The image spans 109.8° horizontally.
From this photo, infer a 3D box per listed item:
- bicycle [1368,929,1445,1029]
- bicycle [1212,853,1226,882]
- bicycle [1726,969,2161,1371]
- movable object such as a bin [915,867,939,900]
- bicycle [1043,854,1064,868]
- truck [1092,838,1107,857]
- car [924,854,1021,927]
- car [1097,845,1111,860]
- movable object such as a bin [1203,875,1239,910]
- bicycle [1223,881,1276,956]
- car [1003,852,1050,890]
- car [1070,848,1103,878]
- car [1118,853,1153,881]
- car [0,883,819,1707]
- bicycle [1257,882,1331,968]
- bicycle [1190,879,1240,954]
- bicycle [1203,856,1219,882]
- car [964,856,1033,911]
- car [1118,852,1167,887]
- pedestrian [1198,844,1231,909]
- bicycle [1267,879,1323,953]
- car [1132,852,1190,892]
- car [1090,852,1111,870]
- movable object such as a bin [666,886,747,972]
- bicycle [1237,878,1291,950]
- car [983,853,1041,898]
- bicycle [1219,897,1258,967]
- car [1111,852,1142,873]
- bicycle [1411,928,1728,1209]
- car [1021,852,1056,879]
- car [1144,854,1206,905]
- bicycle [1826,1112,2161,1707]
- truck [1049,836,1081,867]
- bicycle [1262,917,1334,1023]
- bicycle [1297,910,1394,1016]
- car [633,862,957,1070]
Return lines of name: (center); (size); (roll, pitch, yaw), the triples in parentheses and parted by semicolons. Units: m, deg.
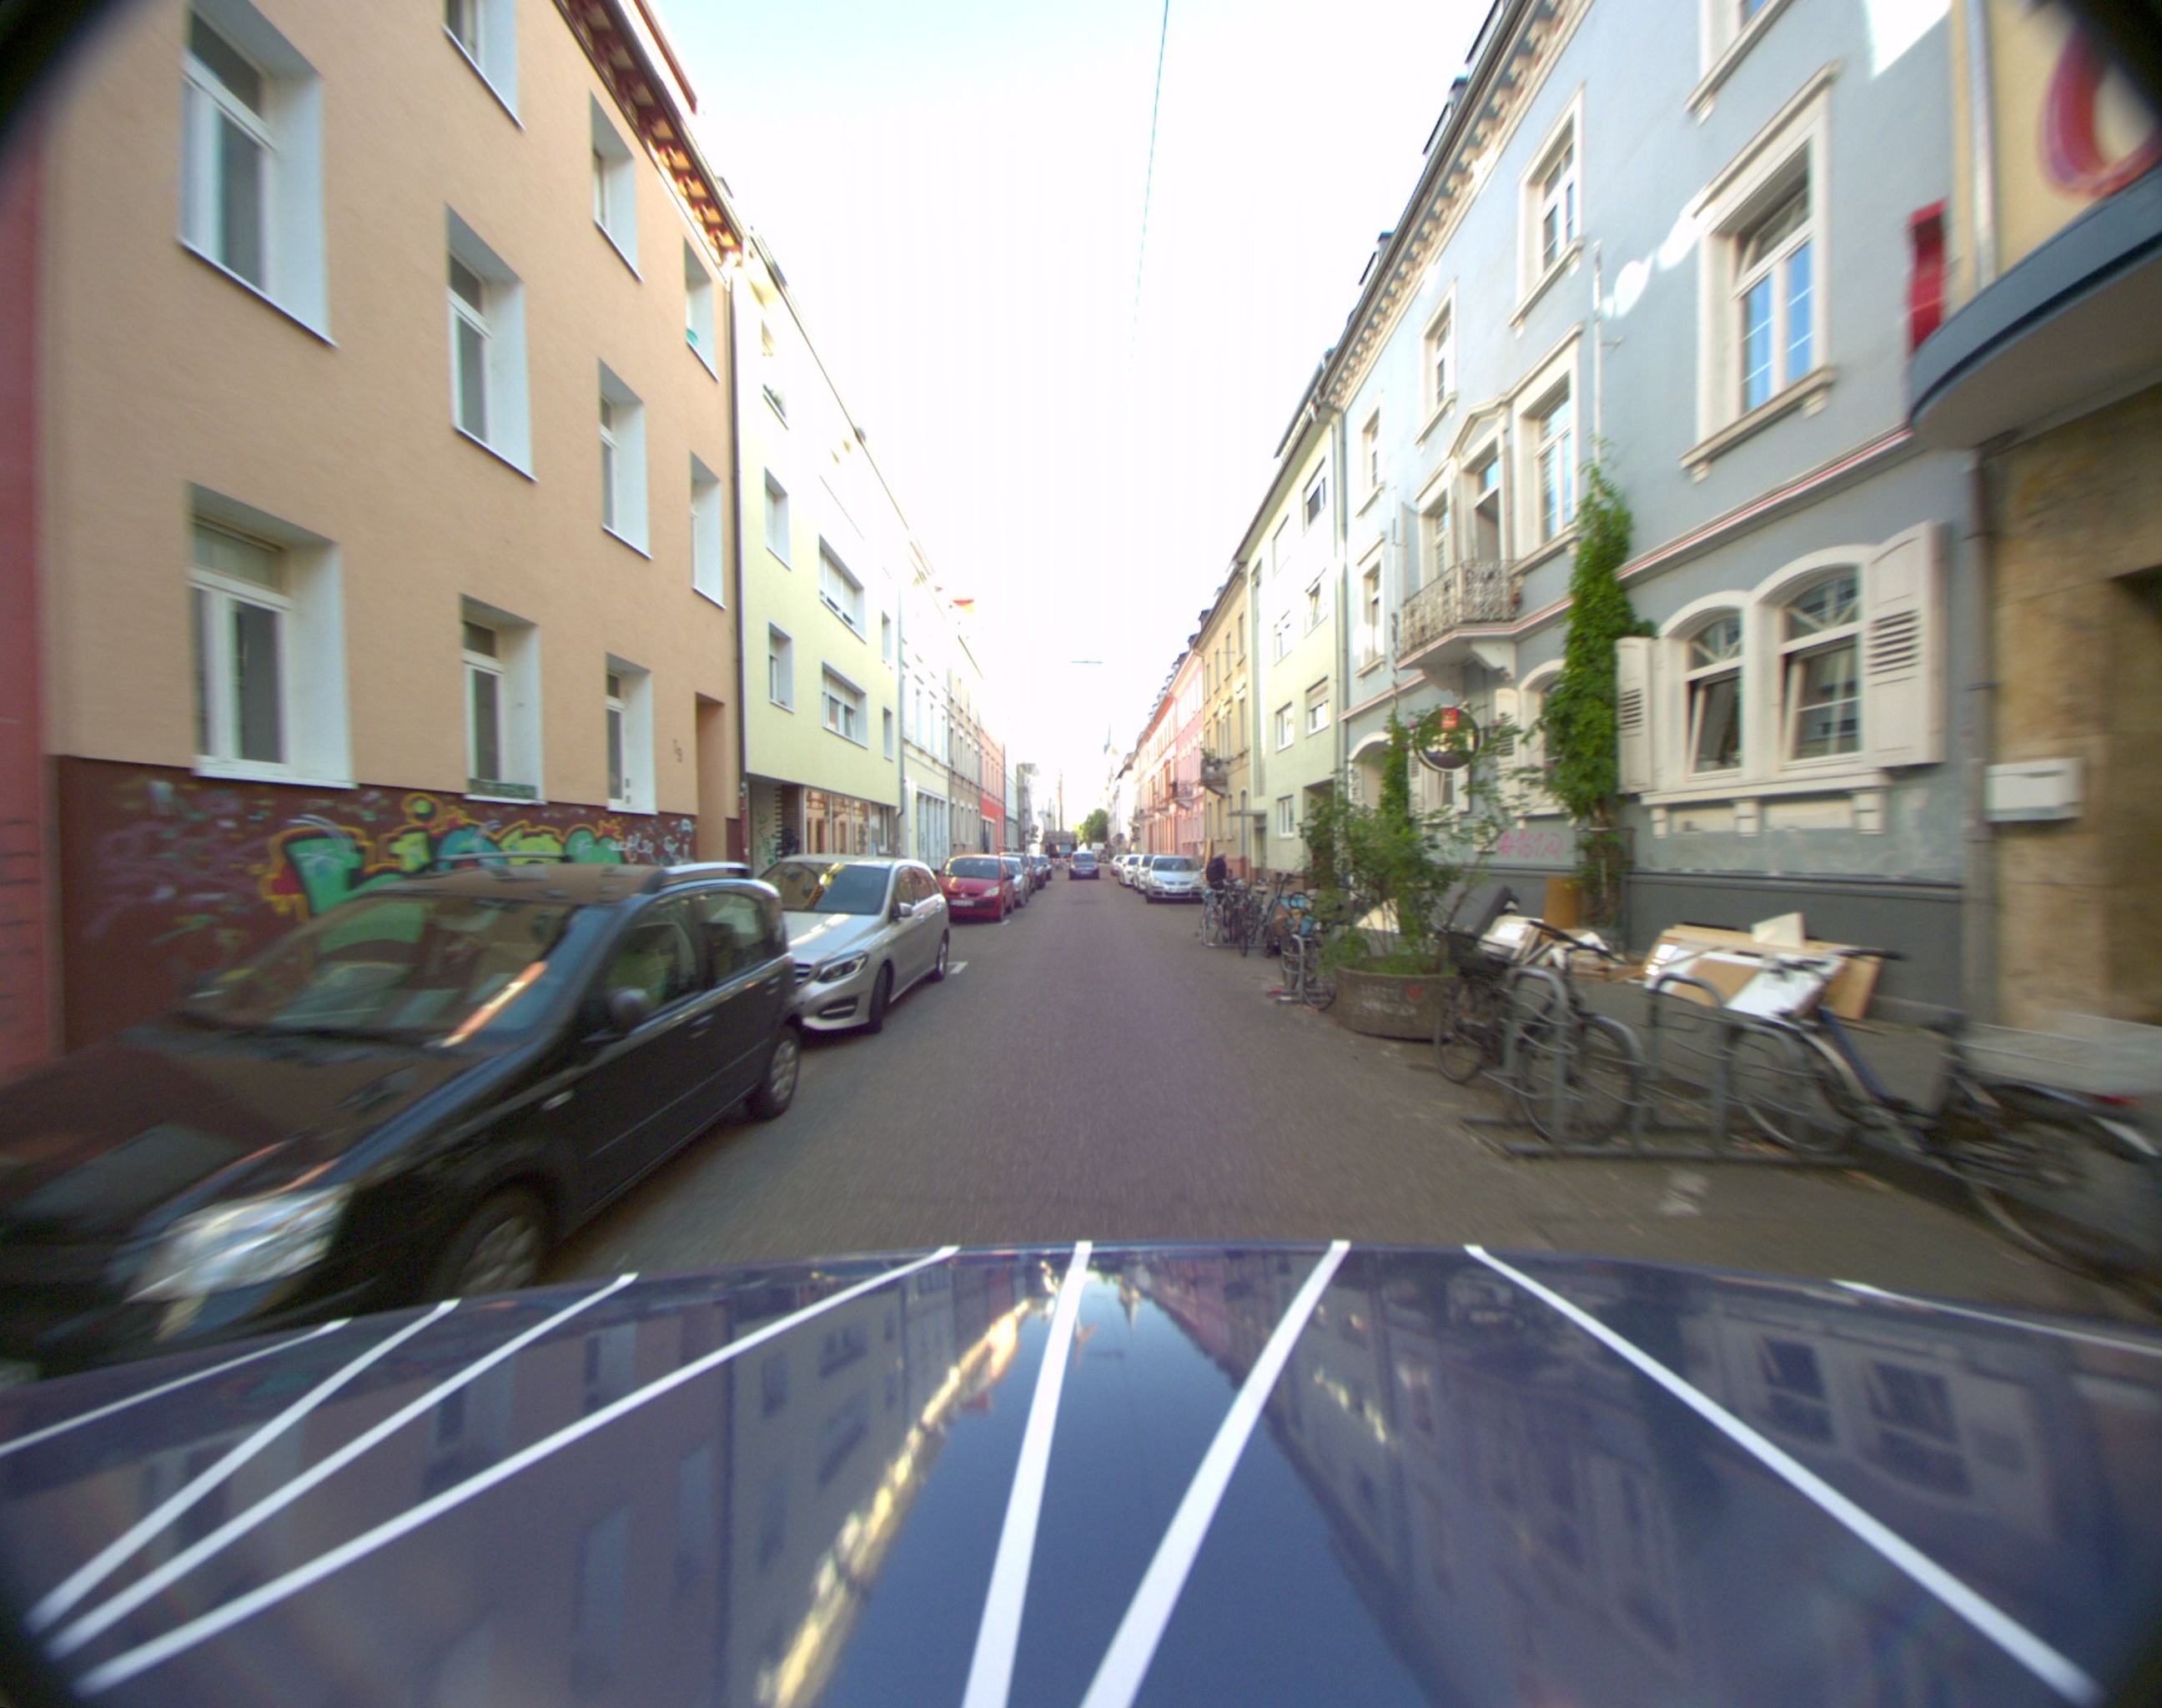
bicycle: (3.357, 1.259, 7.906); (0.256, 0.813, 1.299); (-1, 1, 1)
bicycle: (6.046, 0.571, 33.285); (0.319, 1.253, 1.494); (-2, 1, 0)
bicycle: (3.572, 1.112, 3.131); (0.575, 1.039, 1.409); (-1, 1, -4)
movable object such as a bin: (-5.179, 0.983, 25.537); (0.665, 1.092, 0.557); (-1, 1, 2)
bicycle: (-2.279, 0.579, 62.983); (1.713, 1.130, 0.470); (-2, 1, -11)
truck: (3.296, -1.082, 135.468); (2.524, 3.271, 6.642); (0, 1, 1)
car: (-2.516, 0.797, 18.495); (1.701, 1.514, 3.980); (1, 1, 1)
car: (3.212, -0.235, 106.834); (1.998, 2.002, 4.258); (0, 1, 1)
movable object such as a bin: (3.826, 1.045, 20.742); (0.845, 0.892, 0.586); (-1, 1, 19)
bicycle: (2.852, 1.050, 12.985); (0.444, 1.099, 1.931); (-1, 1, 0)
car: (-2.368, 0.700, 34.114); (1.766, 1.513, 4.379); (-1, 1, 0)
car: (0.323, 0.485, 43.909); (1.832, 1.651, 4.213); (0, 1, 0)
car: (2.923, 0.658, 41.398); (1.731, 1.383, 4.302); (1, 1, 2)
car: (-2.564, 0.996, 3.235); (1.606, 1.530, 3.450); (2, 1, 1)
bicycle: (3.135, 1.021, 11.257); (0.815, 1.168, 0.920); (-1, 1, -2)
bicycle: (2.262, 1.020, 12.951); (0.500, 1.099, 1.829); (-1, 1, 0)
bicycle: (5.659, 0.656, 33.230); (0.418, 1.095, 1.494); (-2, 1, 0)
car: (-2.424, 0.826, 23.073); (1.692, 1.444, 4.192); (1, 1, -1)
car: (2.731, 0.656, 34.463); (1.792, 1.454, 4.199); (0, 0, -1)
pedestrian: (3.578, 0.601, 20.307); (0.714, 1.698, 0.673); (-1, 1, 22)
bicycle: (3.600, 1.011, 12.865); (0.444, 1.099, 1.697); (-1, 1, 0)
car: (3.019, 0.648, 29.453); (1.794, 1.443, 3.999); (0, 1, 0)
car: (1.648, 0.573, 65.113); (1.644, 1.528, 3.842); (0, 0, 0)
movable object such as a bin: (-5.021, 0.991, 10.235); (0.694, 1.052, 0.736); (2, 1, 1)
bicycle: (3.204, 1.016, 13.423); (0.444, 1.099, 1.873); (-1, 1, -1)
car: (-2.515, 0.744, 28.590); (1.794, 1.542, 3.999); (0, 1, 0)
bicycle: (2.337, 1.136, 11.355); (0.322, 0.911, 1.290); (0, 1, 1)
car: (3.041, 0.553, 51.771); (1.771, 1.335, 4.379); (1, 1, -1)
bicycle: (2.690, 1.089, 4.478); (0.547, 1.088, 1.881); (-2, 1, -4)
car: (-2.438, 0.612, 44.348); (1.831, 1.474, 4.463); (0, 1, 0)
car: (2.868, 0.736, 23.957); (1.684, 1.446, 4.034); (1, 1, 4)
bicycle: (2.160, 1.153, 0.949); (0.462, 1.041, 1.747); (-2, 1, -16)
truck: (-1.488, -0.238, 73.282); (2.819, 2.735, 7.677); (-2, 1, 0)
bicycle: (2.288, 1.189, 8.111); (0.391, 0.911, 1.393); (0, 1, 1)
bicycle: (2.898, 1.159, 8.459); (0.555, 0.938, 1.571); (0, 1, 1)
car: (-2.583, 0.901, 8.039); (1.750, 1.547, 4.171); (0, 1, 1)
